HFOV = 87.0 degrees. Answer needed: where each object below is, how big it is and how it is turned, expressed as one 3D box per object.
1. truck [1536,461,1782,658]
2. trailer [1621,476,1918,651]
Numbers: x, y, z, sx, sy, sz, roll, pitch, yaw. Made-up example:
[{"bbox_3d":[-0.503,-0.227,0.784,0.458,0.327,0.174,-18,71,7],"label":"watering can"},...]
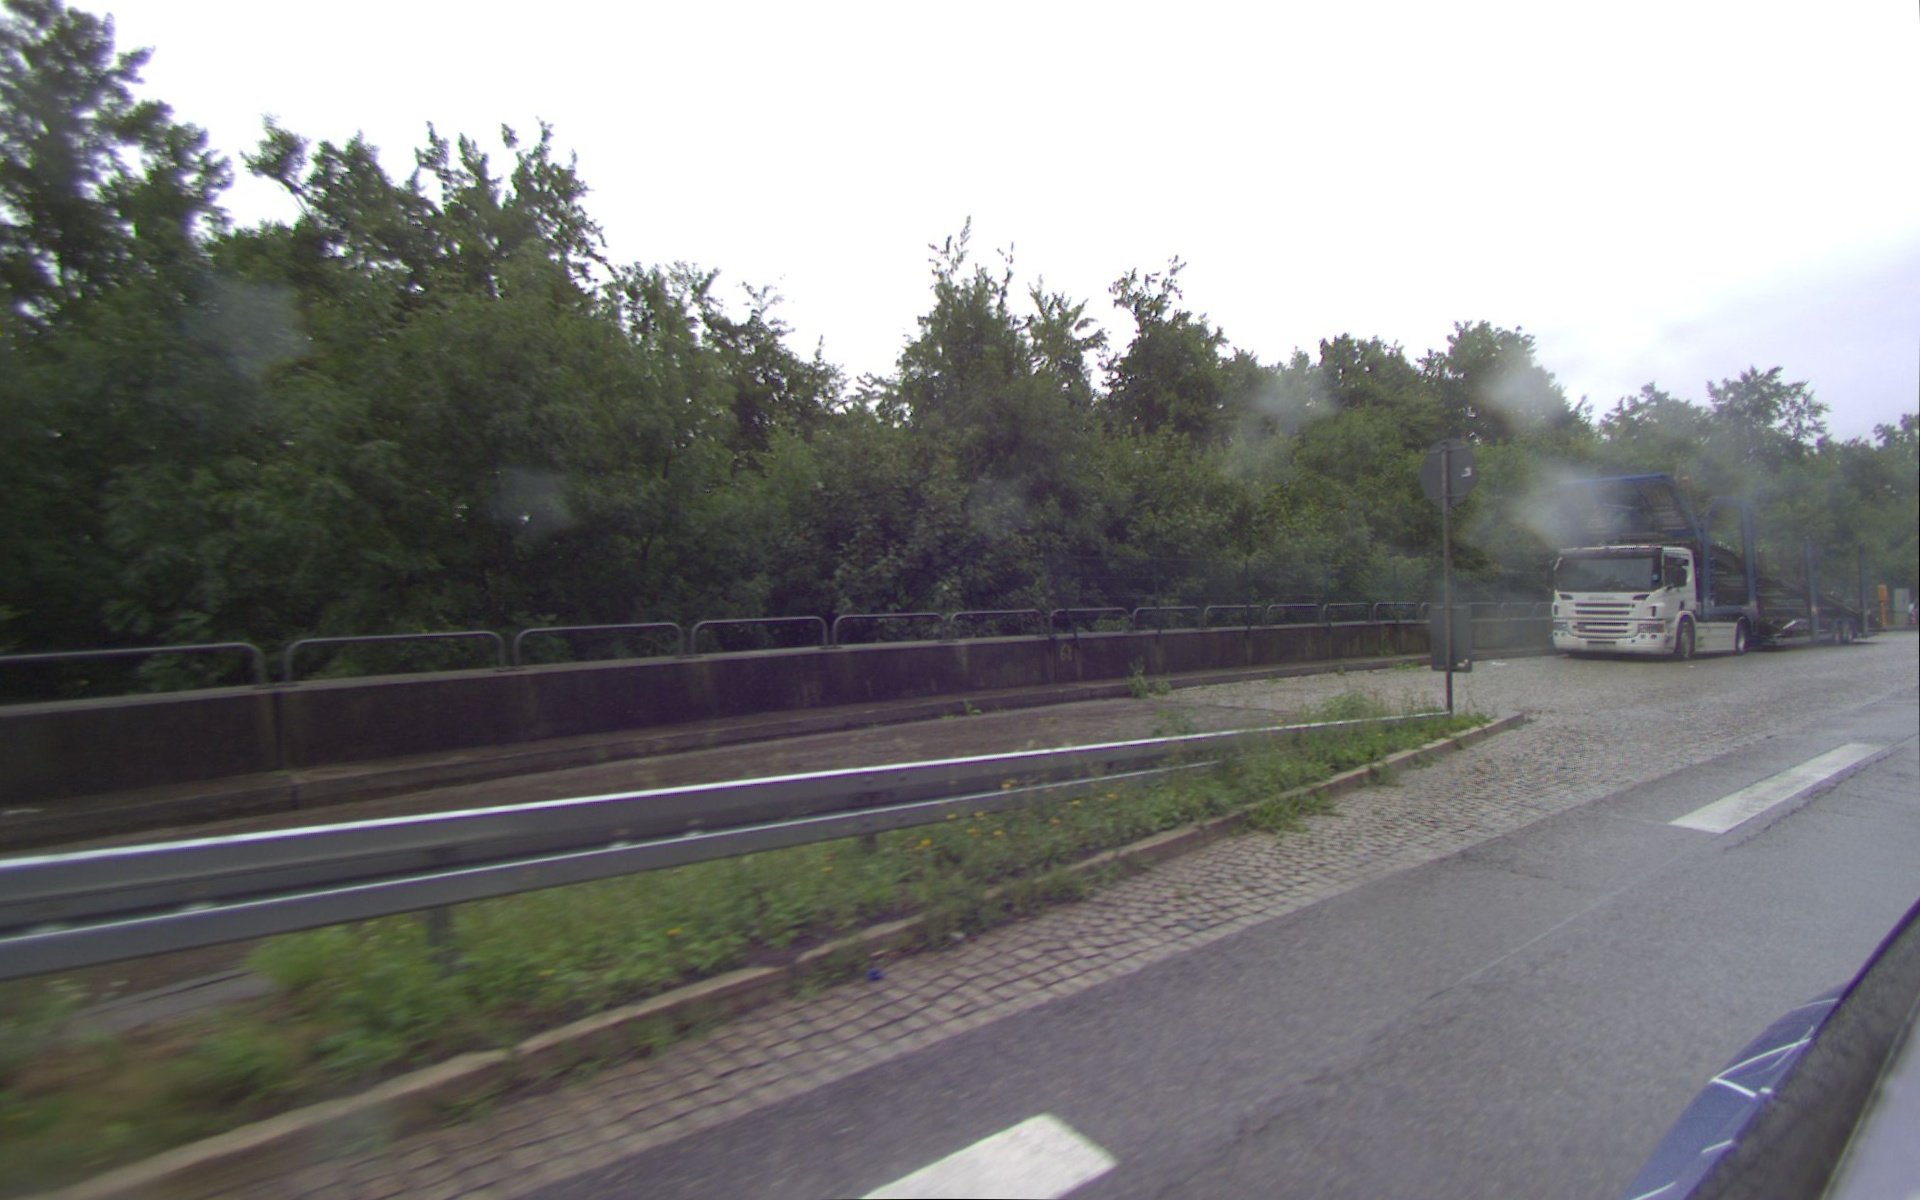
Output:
[{"bbox_3d":[17.512,-0.960,25.223,6.751,4.297,2.906,-1,2,-36],"label":"truck"},{"bbox_3d":[24.574,-1.019,30.202,14.417,4.297,2.902,-1,2,-35],"label":"trailer"}]
